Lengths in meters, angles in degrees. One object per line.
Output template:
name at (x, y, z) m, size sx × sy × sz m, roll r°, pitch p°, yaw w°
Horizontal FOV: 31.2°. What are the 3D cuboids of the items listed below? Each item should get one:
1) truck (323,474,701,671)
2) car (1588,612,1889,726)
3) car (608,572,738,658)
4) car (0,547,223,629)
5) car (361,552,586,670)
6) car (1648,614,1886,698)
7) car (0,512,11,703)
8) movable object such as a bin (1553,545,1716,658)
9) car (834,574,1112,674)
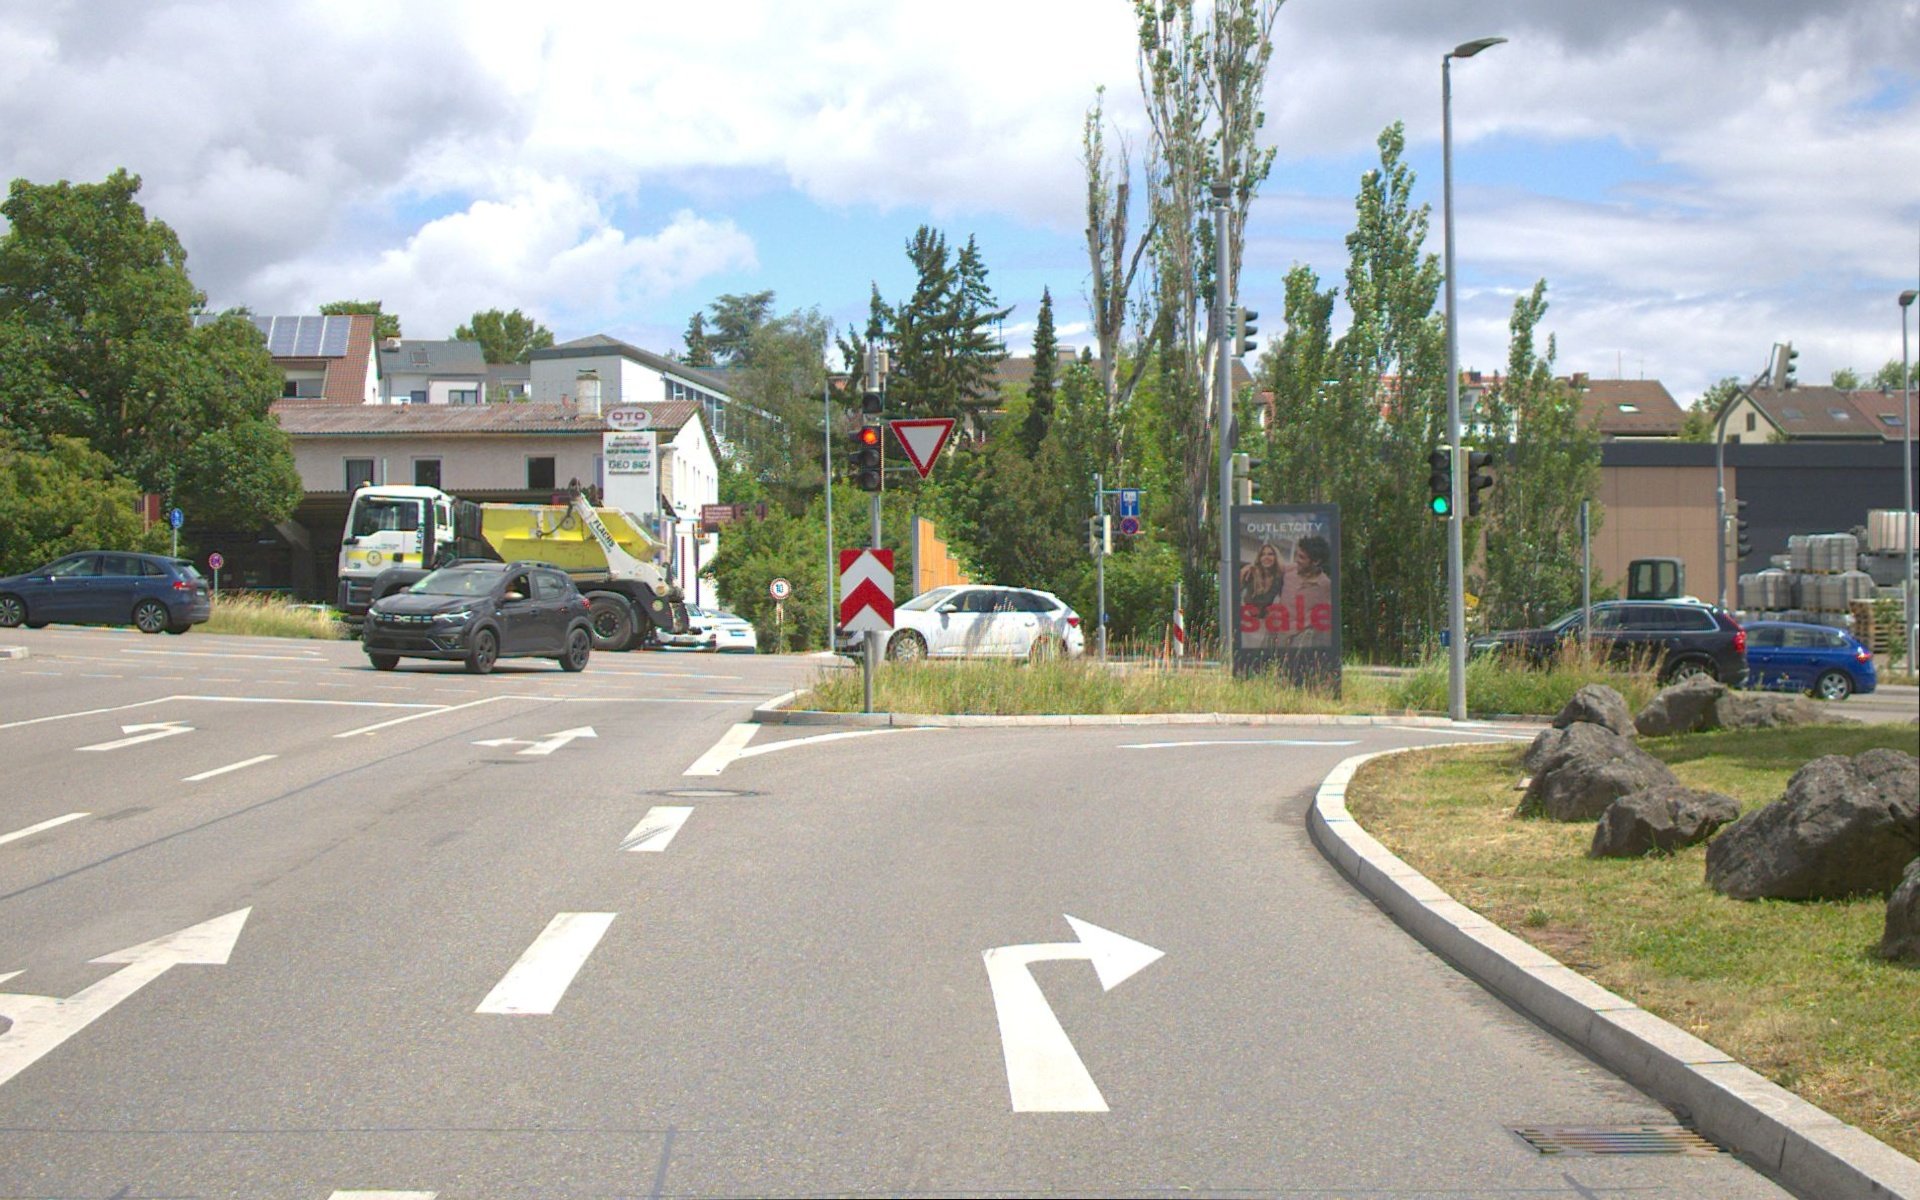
truck at (-8.820, -0.530, 68.245) m, size 6.945 × 3.567 × 2.846 m, roll -2°, pitch 0°, yaw 2°
car at (13.561, 1.178, 59.995) m, size 4.969 × 1.684 × 1.910 m, roll 3°, pitch 0°, yaw 12°
car at (-7.087, 0.388, 84.650) m, size 1.993 × 2.007 × 4.001 m, roll -2°, pitch 0°, yaw -23°
car at (-16.149, -0.225, 65.025) m, size 3.987 × 1.395 × 1.696 m, roll 2°, pitch 0°, yaw 3°
car at (-6.839, 0.129, 48.735) m, size 1.786 × 1.572 × 4.162 m, roll 1°, pitch 1°, yaw 13°
car at (14.843, 1.024, 63.368) m, size 3.987 × 1.395 × 1.696 m, roll 2°, pitch 0°, yaw 3°
car at (-9.823, 0.095, 29.736) m, size 1.785 × 1.772 × 4.811 m, roll 0°, pitch 1°, yaw 2°
movable object such as a bin at (16.147, 0.047, 82.240) m, size 3.407 × 2.529 × 2.150 m, roll 2°, pitch 0°, yaw 21°
car at (0.226, 0.412, 58.432) m, size 4.362 × 1.464 × 1.623 m, roll 3°, pitch 1°, yaw -22°
